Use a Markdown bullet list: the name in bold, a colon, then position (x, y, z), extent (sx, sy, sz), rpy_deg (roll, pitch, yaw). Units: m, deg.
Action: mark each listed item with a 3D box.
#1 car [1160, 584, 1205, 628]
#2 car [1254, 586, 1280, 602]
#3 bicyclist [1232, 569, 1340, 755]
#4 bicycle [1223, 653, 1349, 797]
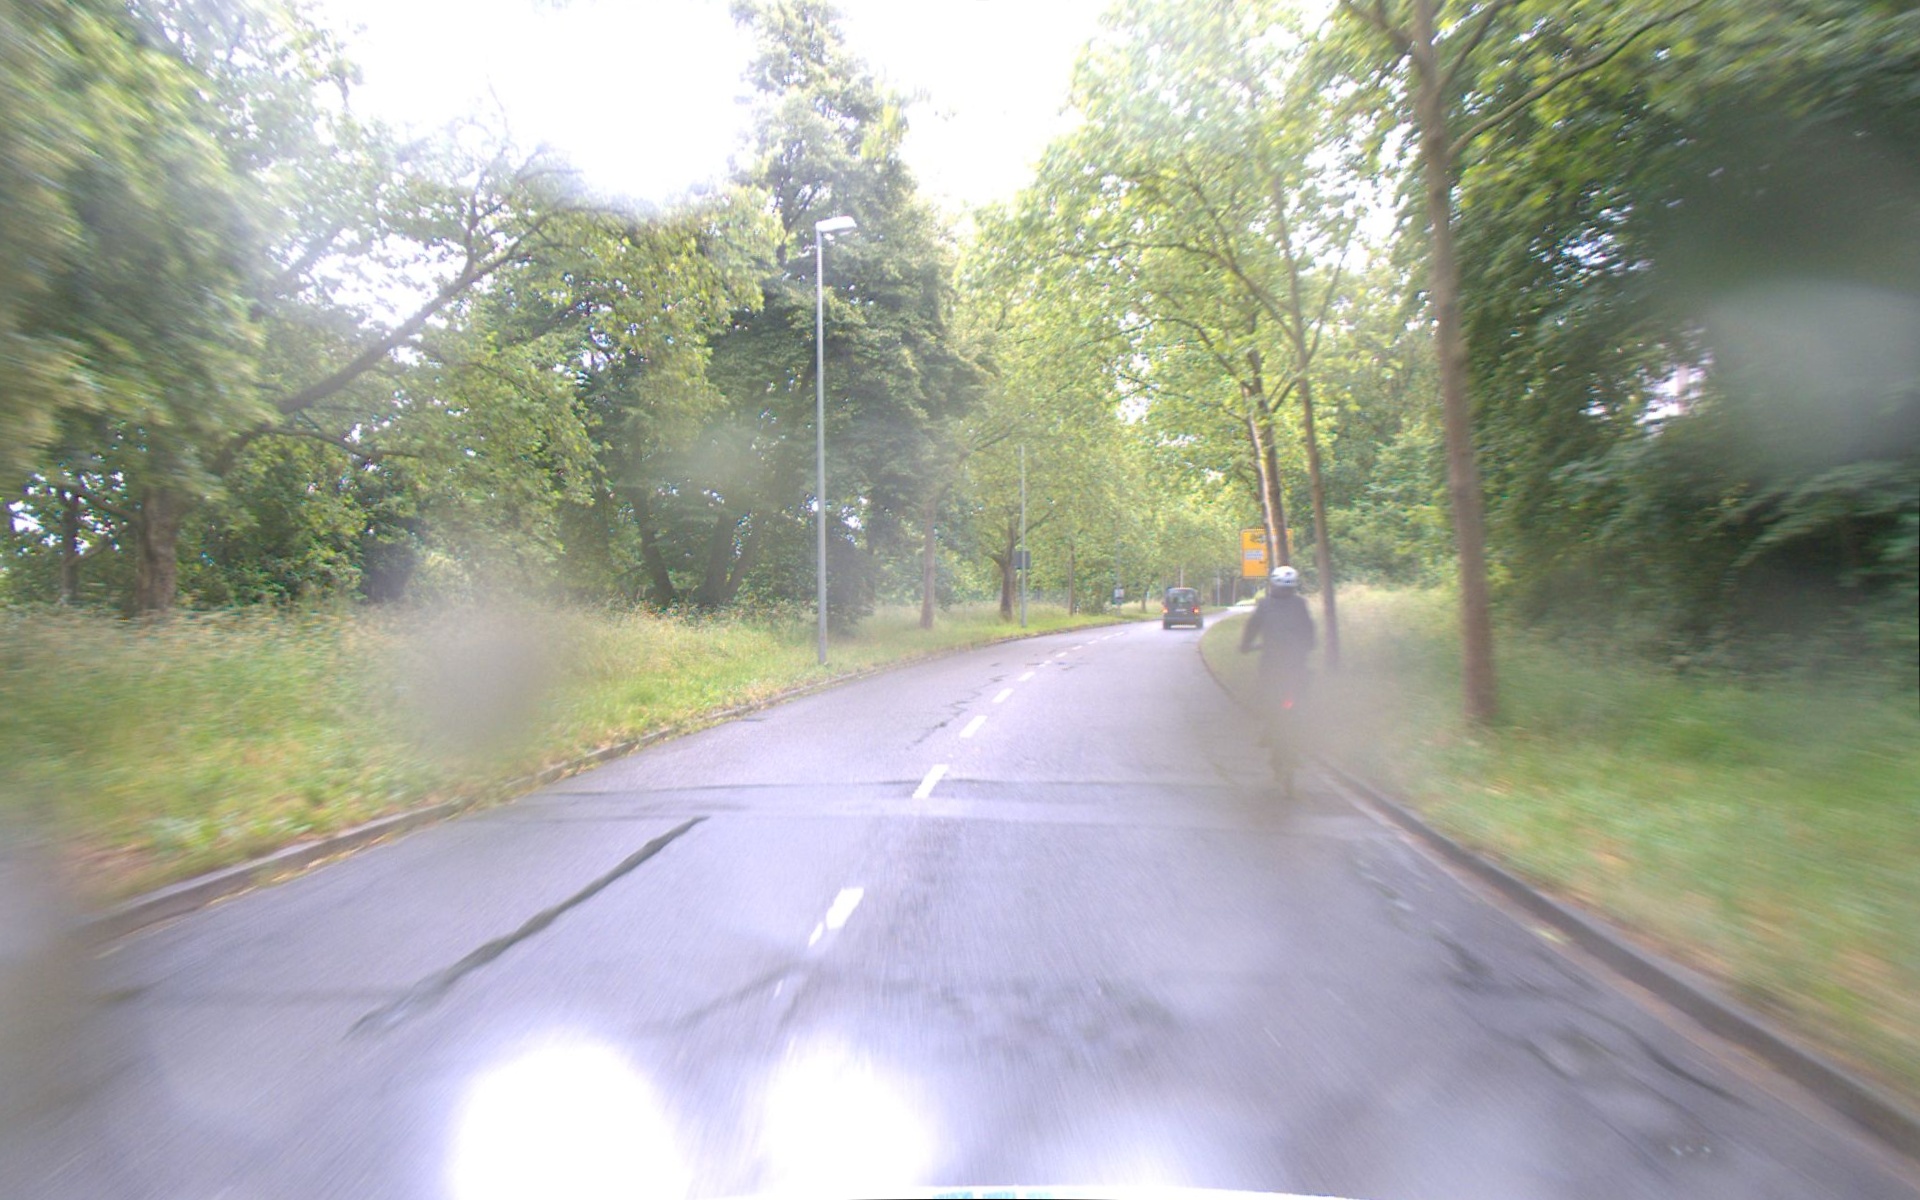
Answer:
- **car**: position (10.386, 0.263, 76.923), extent (1.943, 1.959, 4.004), rpy_deg (0, 0, 10)
- **car**: position (30.175, -0.555, 162.400), extent (1.757, 1.537, 4.000), rpy_deg (0, 0, 22)
- **bicyclist**: position (2.618, 0.479, 13.369), extent (0.714, 1.435, 0.973), rpy_deg (1, 0, 3)
- **bicycle**: position (2.621, 0.974, 13.517), extent (0.714, 0.991, 2.174), rpy_deg (1, 0, 3)
